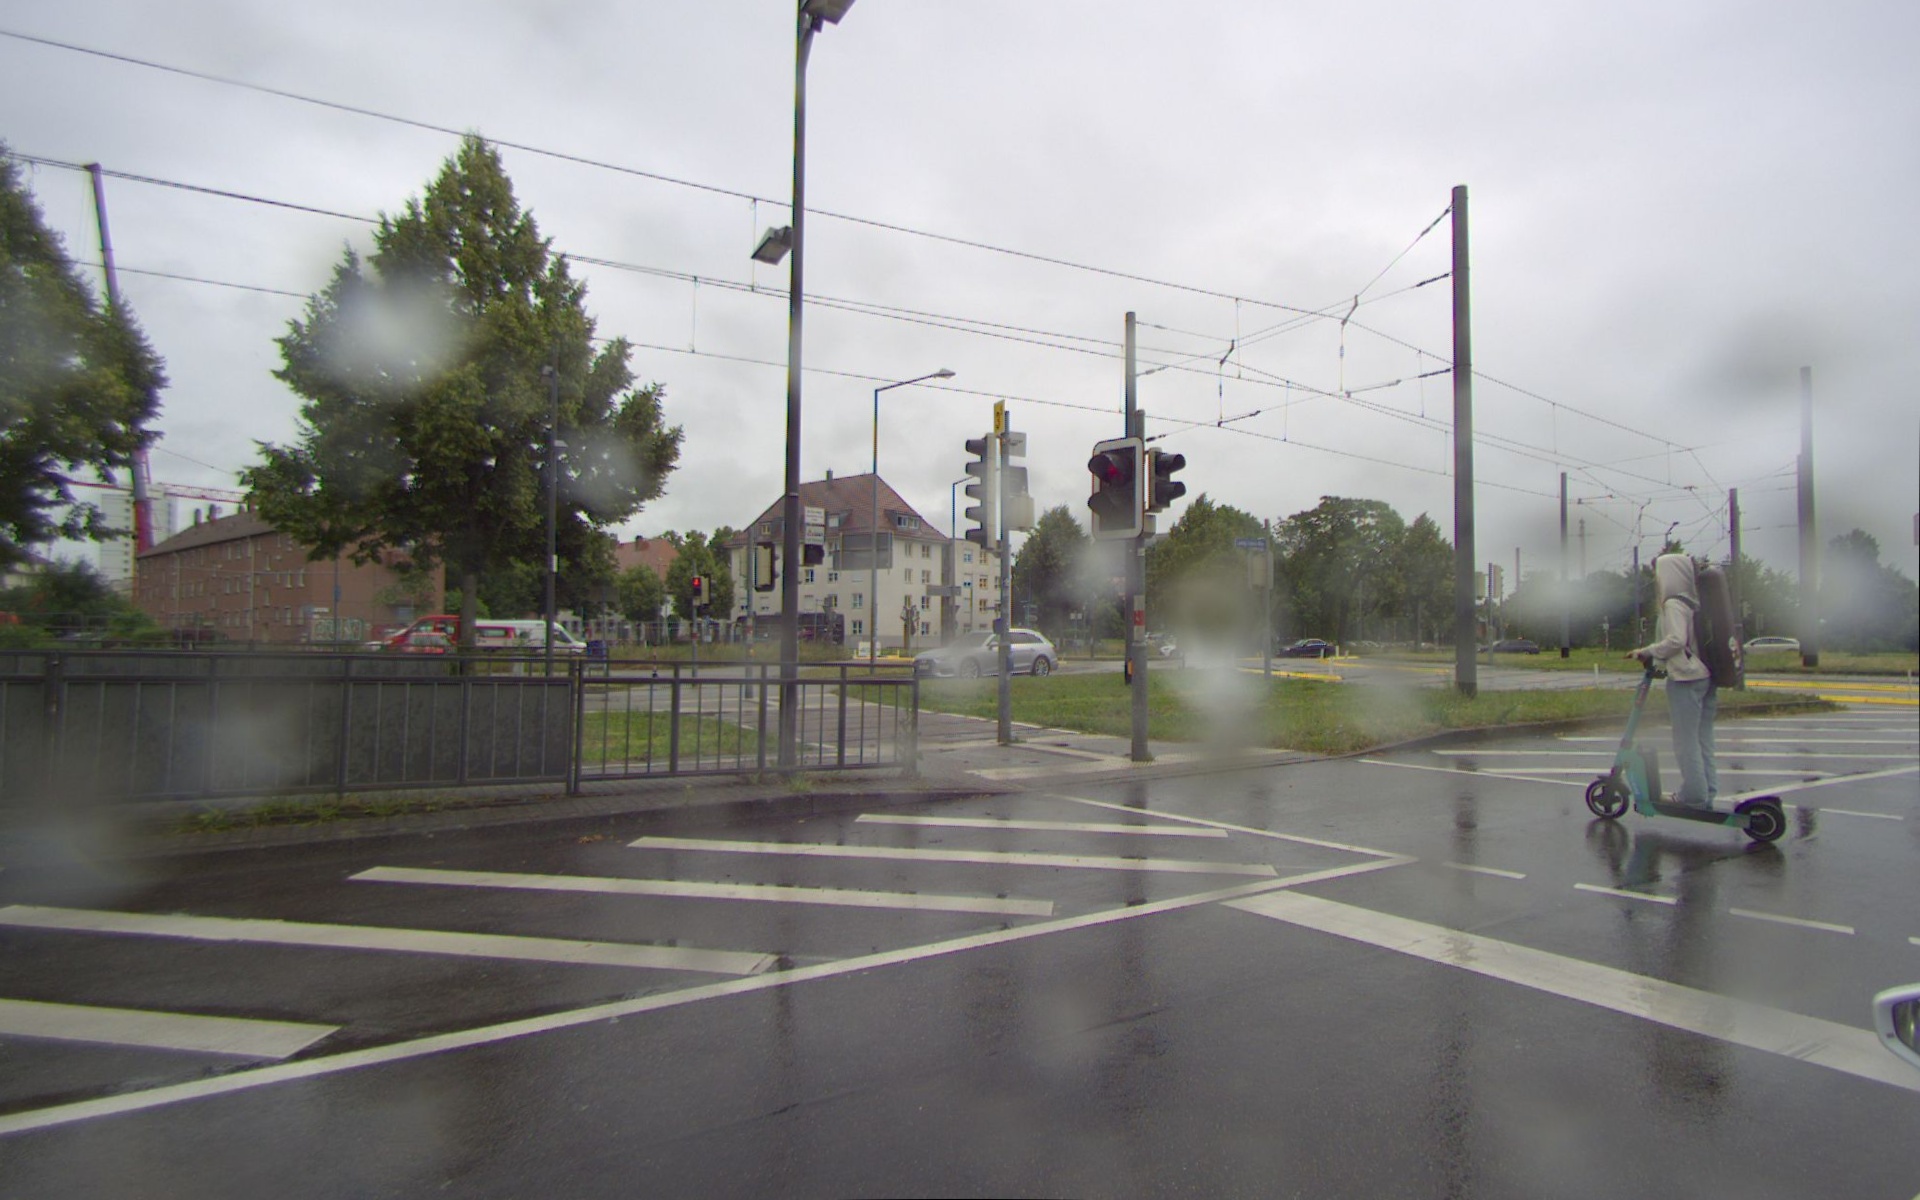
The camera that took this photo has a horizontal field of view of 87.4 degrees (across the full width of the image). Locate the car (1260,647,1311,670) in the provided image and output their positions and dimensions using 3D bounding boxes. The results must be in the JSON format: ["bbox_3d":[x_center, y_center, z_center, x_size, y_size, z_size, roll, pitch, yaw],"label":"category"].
[{"bbox_3d":[24.047,4.348,74.190,3.437,1.563,1.612,2,0,-26],"label":"car"}]

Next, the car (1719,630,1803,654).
[{"bbox_3d":[51.321,2.677,64.487,4.043,1.473,1.619,-1,-2,33],"label":"car"}]

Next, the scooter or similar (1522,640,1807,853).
[{"bbox_3d":[4.900,0.956,7.058,1.567,1.276,0.445,2,0,42],"label":"scooter or similar"}]

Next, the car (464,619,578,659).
[{"bbox_3d":[-25.960,2.291,59.645,6.004,2.308,1.617,1,-2,-18],"label":"car"}]

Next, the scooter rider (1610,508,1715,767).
[{"bbox_3d":[4.934,0.265,7.057,0.525,1.731,0.432,-2,-3,42],"label":"scooter rider"}]

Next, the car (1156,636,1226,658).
[{"bbox_3d":[16.077,3.287,70.126,4.530,1.473,1.624,0,-2,3],"label":"car"}]

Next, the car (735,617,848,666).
[{"bbox_3d":[-14.276,3.427,84.287,10.783,3.770,2.449,0,-2,36],"label":"car"}]

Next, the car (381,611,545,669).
[{"bbox_3d":[-22.145,1.780,45.044,6.389,2.503,1.616,1,-2,-20],"label":"car"}]

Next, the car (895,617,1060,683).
[{"bbox_3d":[0.537,1.322,27.453,4.371,1.649,1.975,2,-2,-42],"label":"car"}]

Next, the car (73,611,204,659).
[{"bbox_3d":[-45.403,1.956,55.719,5.441,2.485,1.980,2,0,-36],"label":"car"}]
